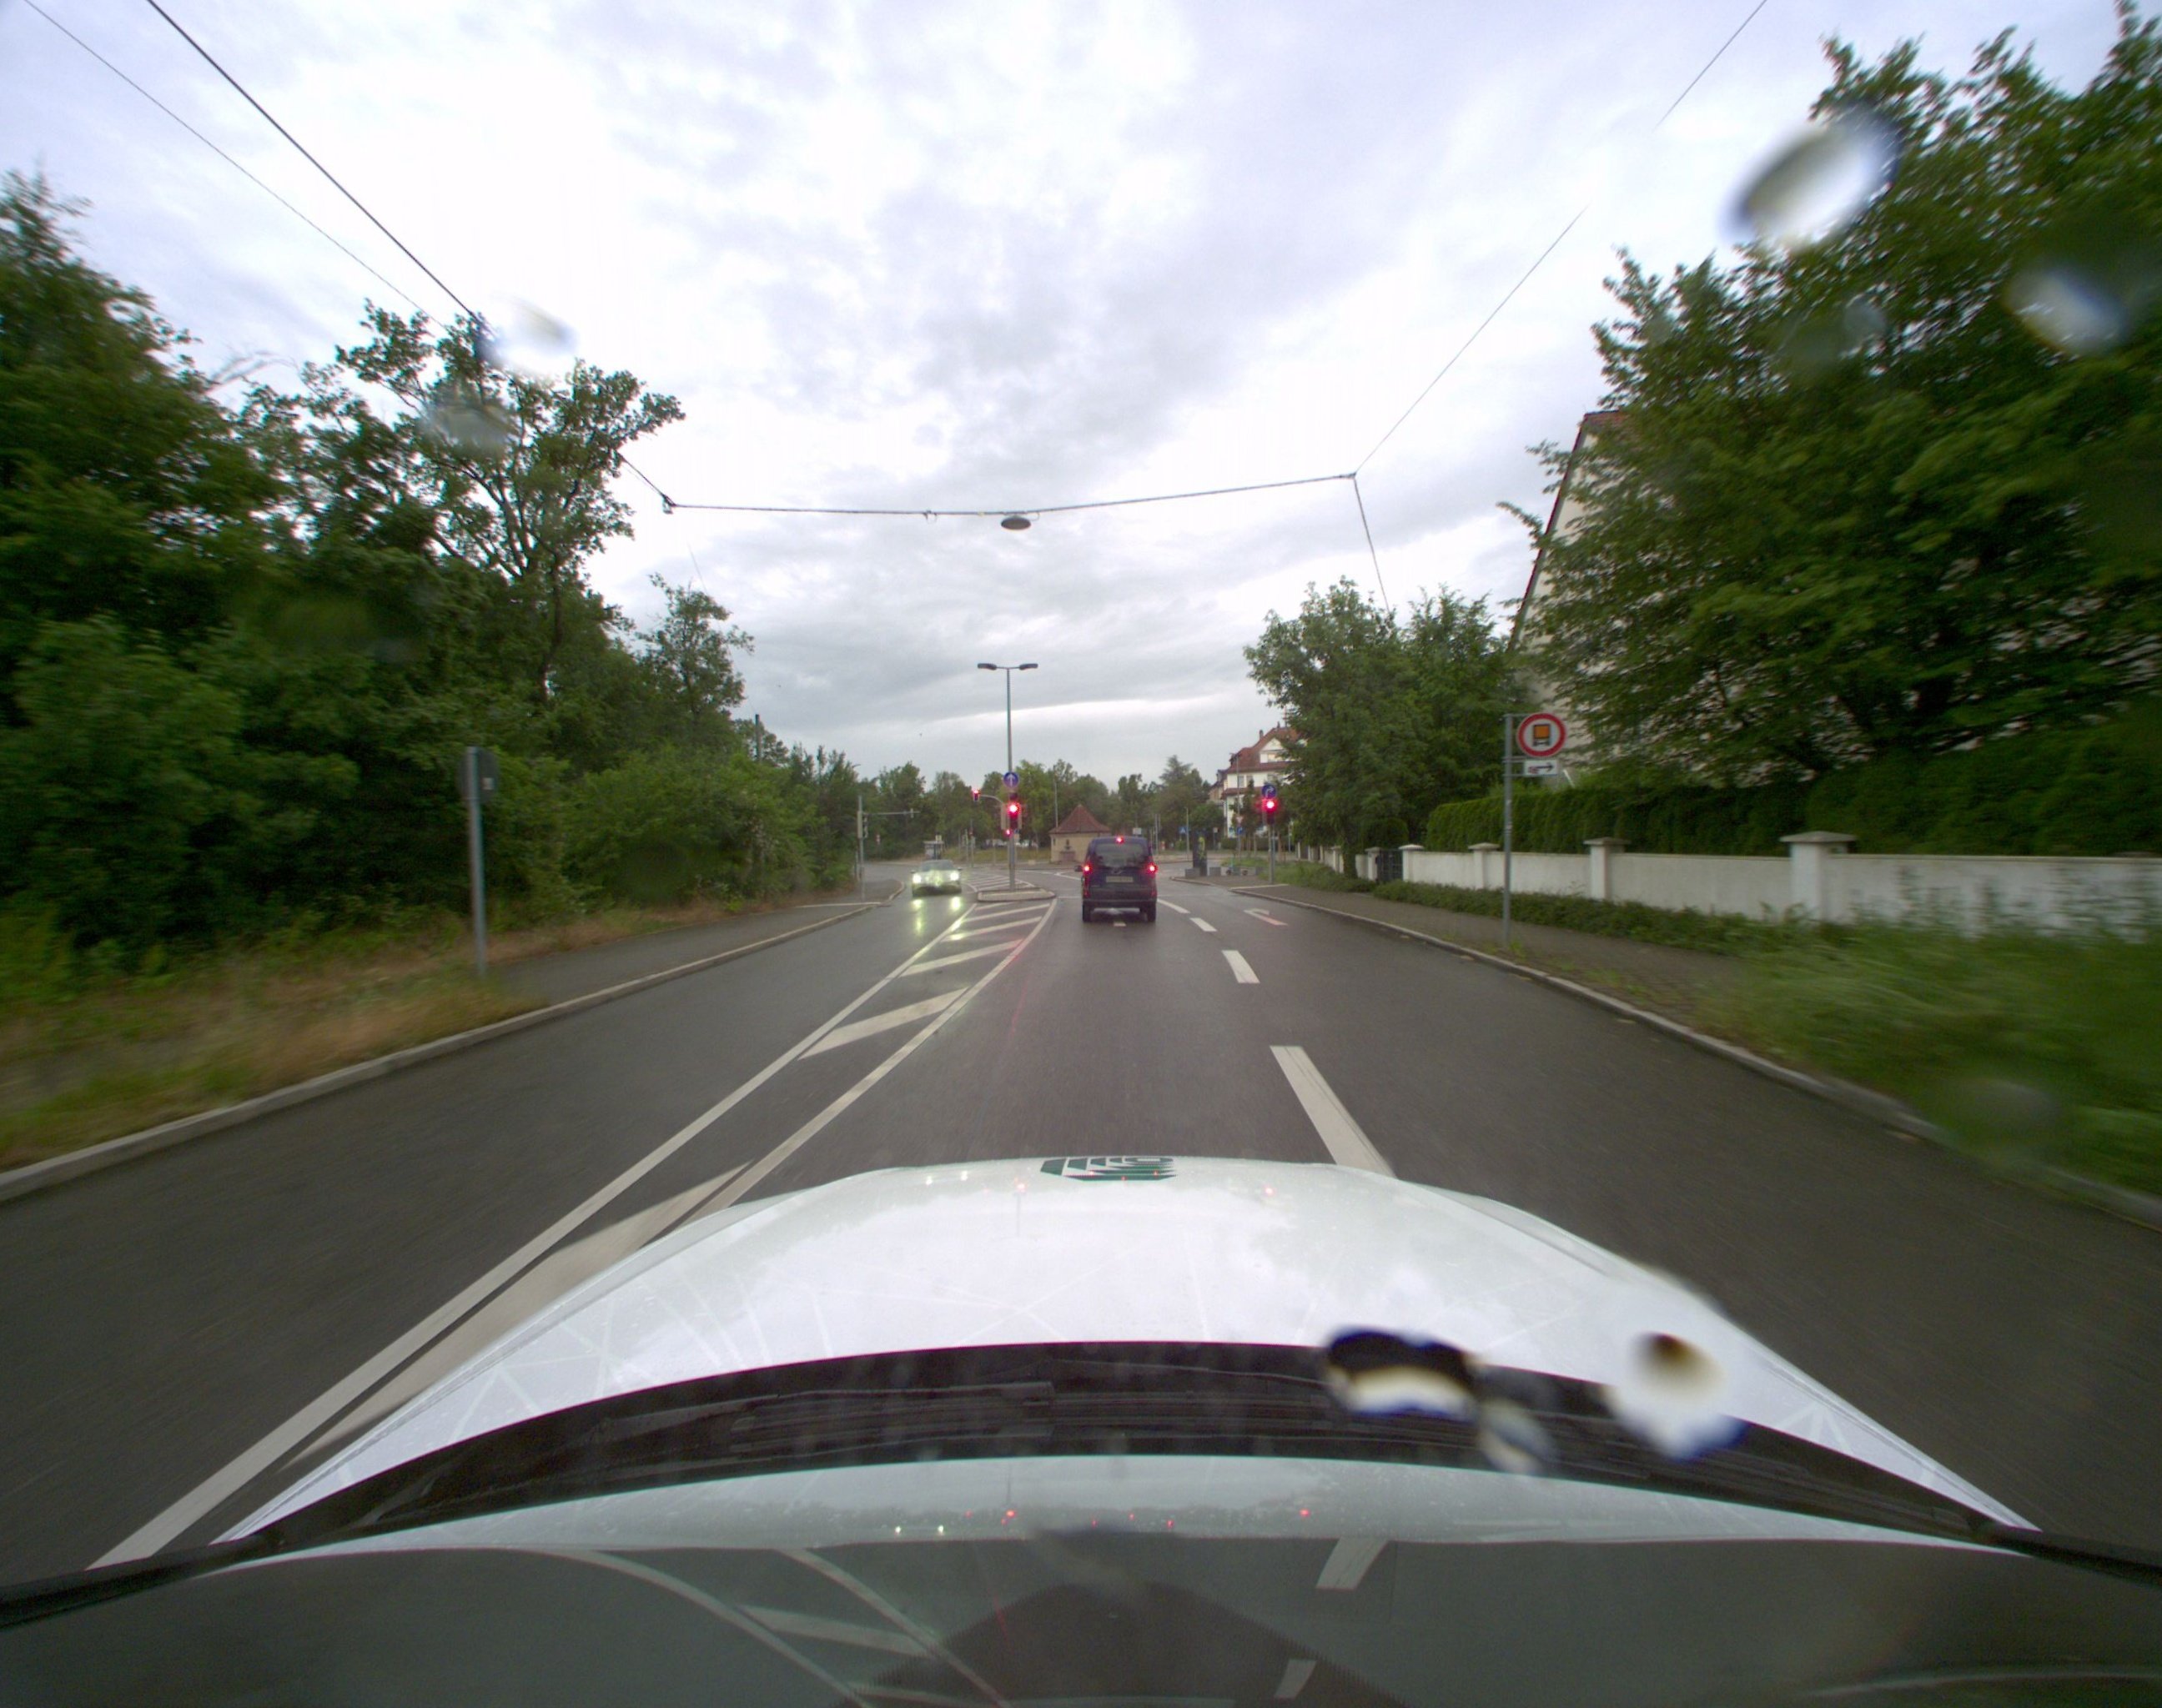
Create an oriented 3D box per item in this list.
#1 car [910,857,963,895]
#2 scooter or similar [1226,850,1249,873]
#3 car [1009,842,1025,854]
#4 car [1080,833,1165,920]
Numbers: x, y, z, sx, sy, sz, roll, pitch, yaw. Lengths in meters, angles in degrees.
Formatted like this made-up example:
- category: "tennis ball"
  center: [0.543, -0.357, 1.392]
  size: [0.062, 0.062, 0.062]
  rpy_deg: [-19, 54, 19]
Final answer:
- category: "car"
  center: [-6.006, 0.875, 34.153]
  size: [1.993, 1.311, 4.346]
  rpy_deg: [-4, 1, -9]
- category: "scooter or similar"
  center: [8.333, 0.391, 43.437]
  size: [1.145, 1.219, 0.406]
  rpy_deg: [-1, -1, 0]
- category: "car"
  center: [-9.844, -0.945, 125.874]
  size: [1.987, 1.812, 4.000]
  rpy_deg: [-1, -1, 1]
- category: "car"
  center: [0.865, 0.457, 19.004]
  size: [1.726, 1.786, 3.999]
  rpy_deg: [-1, 0, -1]
